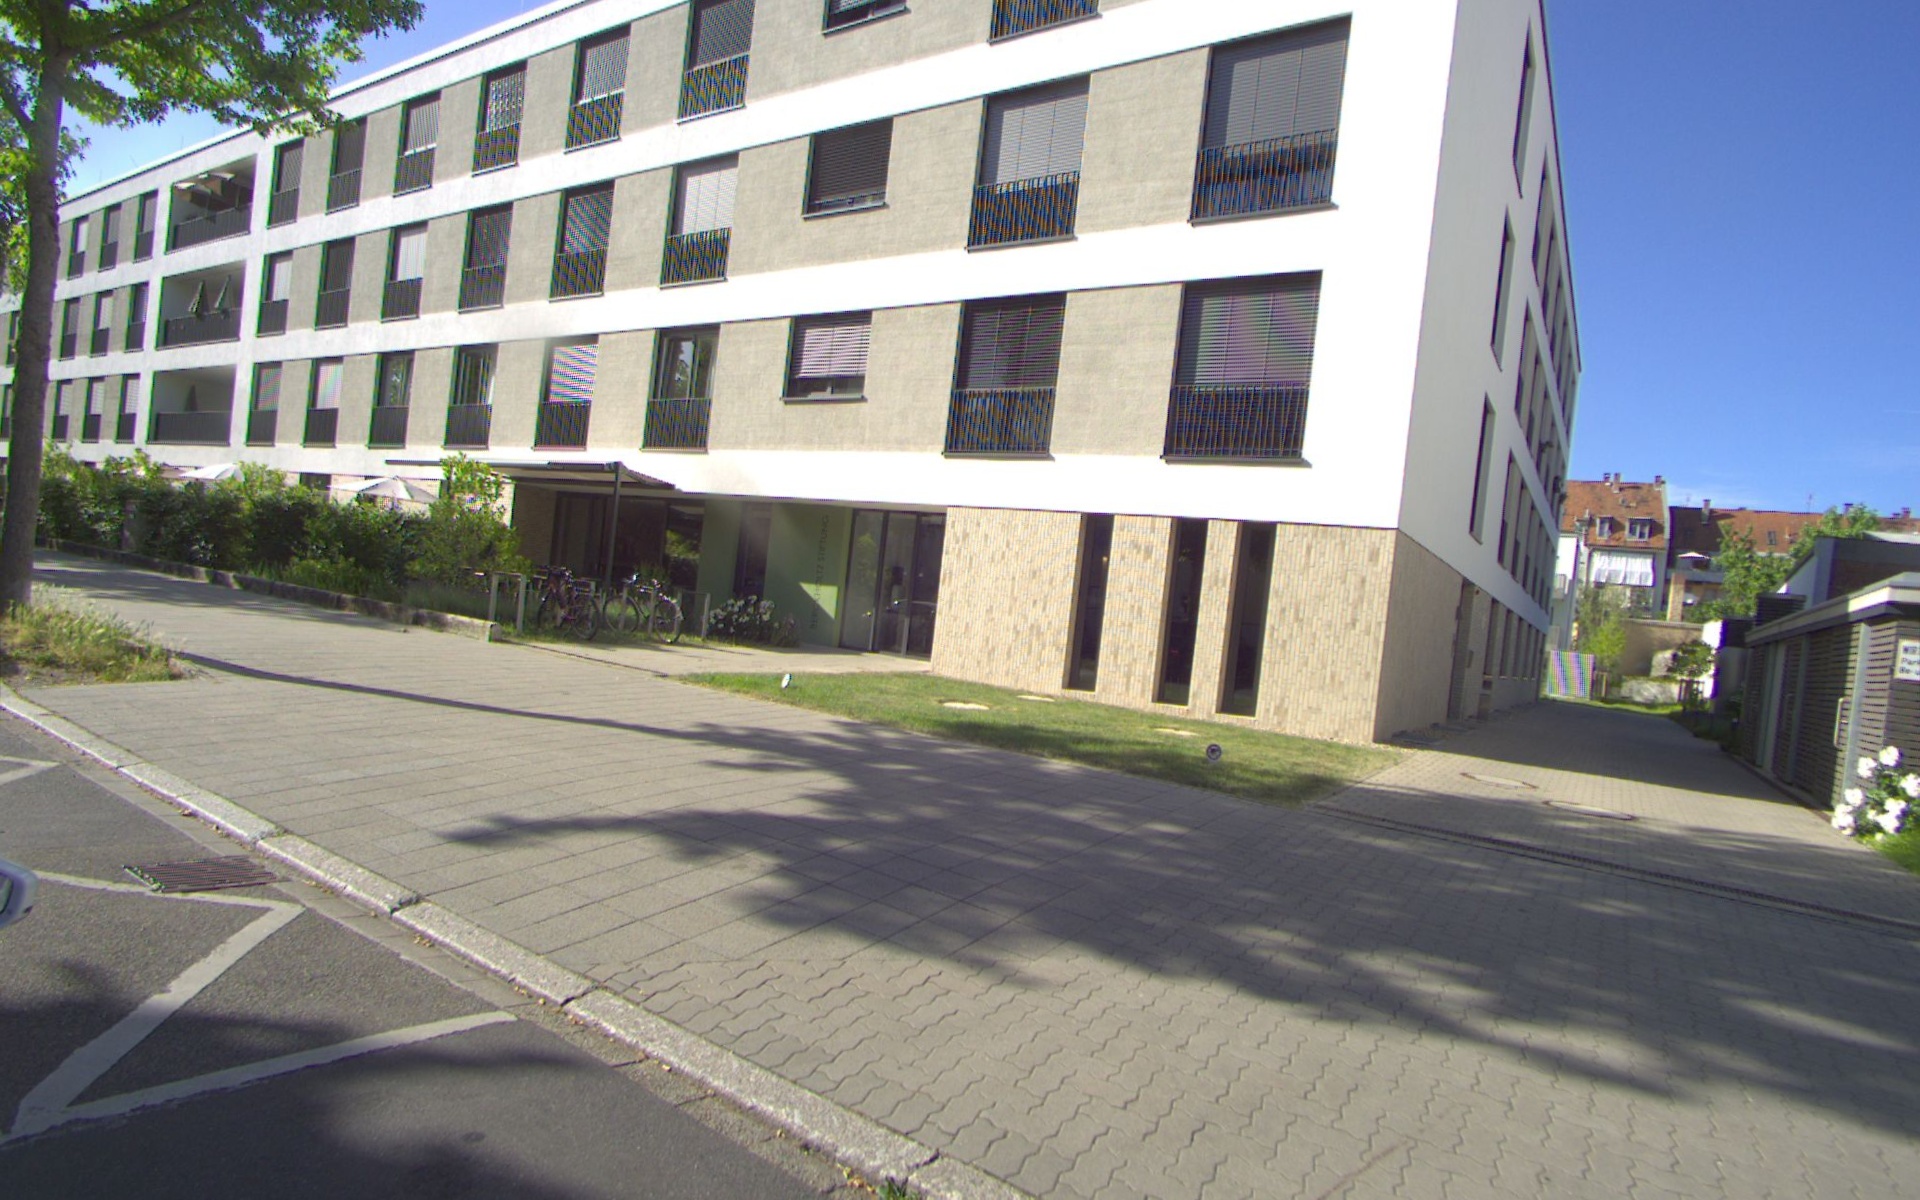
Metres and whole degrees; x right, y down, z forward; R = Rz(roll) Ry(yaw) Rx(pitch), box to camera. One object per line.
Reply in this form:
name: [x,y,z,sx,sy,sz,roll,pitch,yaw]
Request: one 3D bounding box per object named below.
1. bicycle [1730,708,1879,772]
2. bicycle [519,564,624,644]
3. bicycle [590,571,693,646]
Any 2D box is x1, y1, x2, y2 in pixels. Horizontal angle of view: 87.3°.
bicycle: [17.758,2.919,21.228,2.276,0.936,0.658,7,1,36]
bicycle: [-6.043,0.050,15.623,1.663,1.069,0.546,6,2,31]
bicycle: [-5.330,0.132,16.784,1.750,1.069,0.546,6,2,31]
